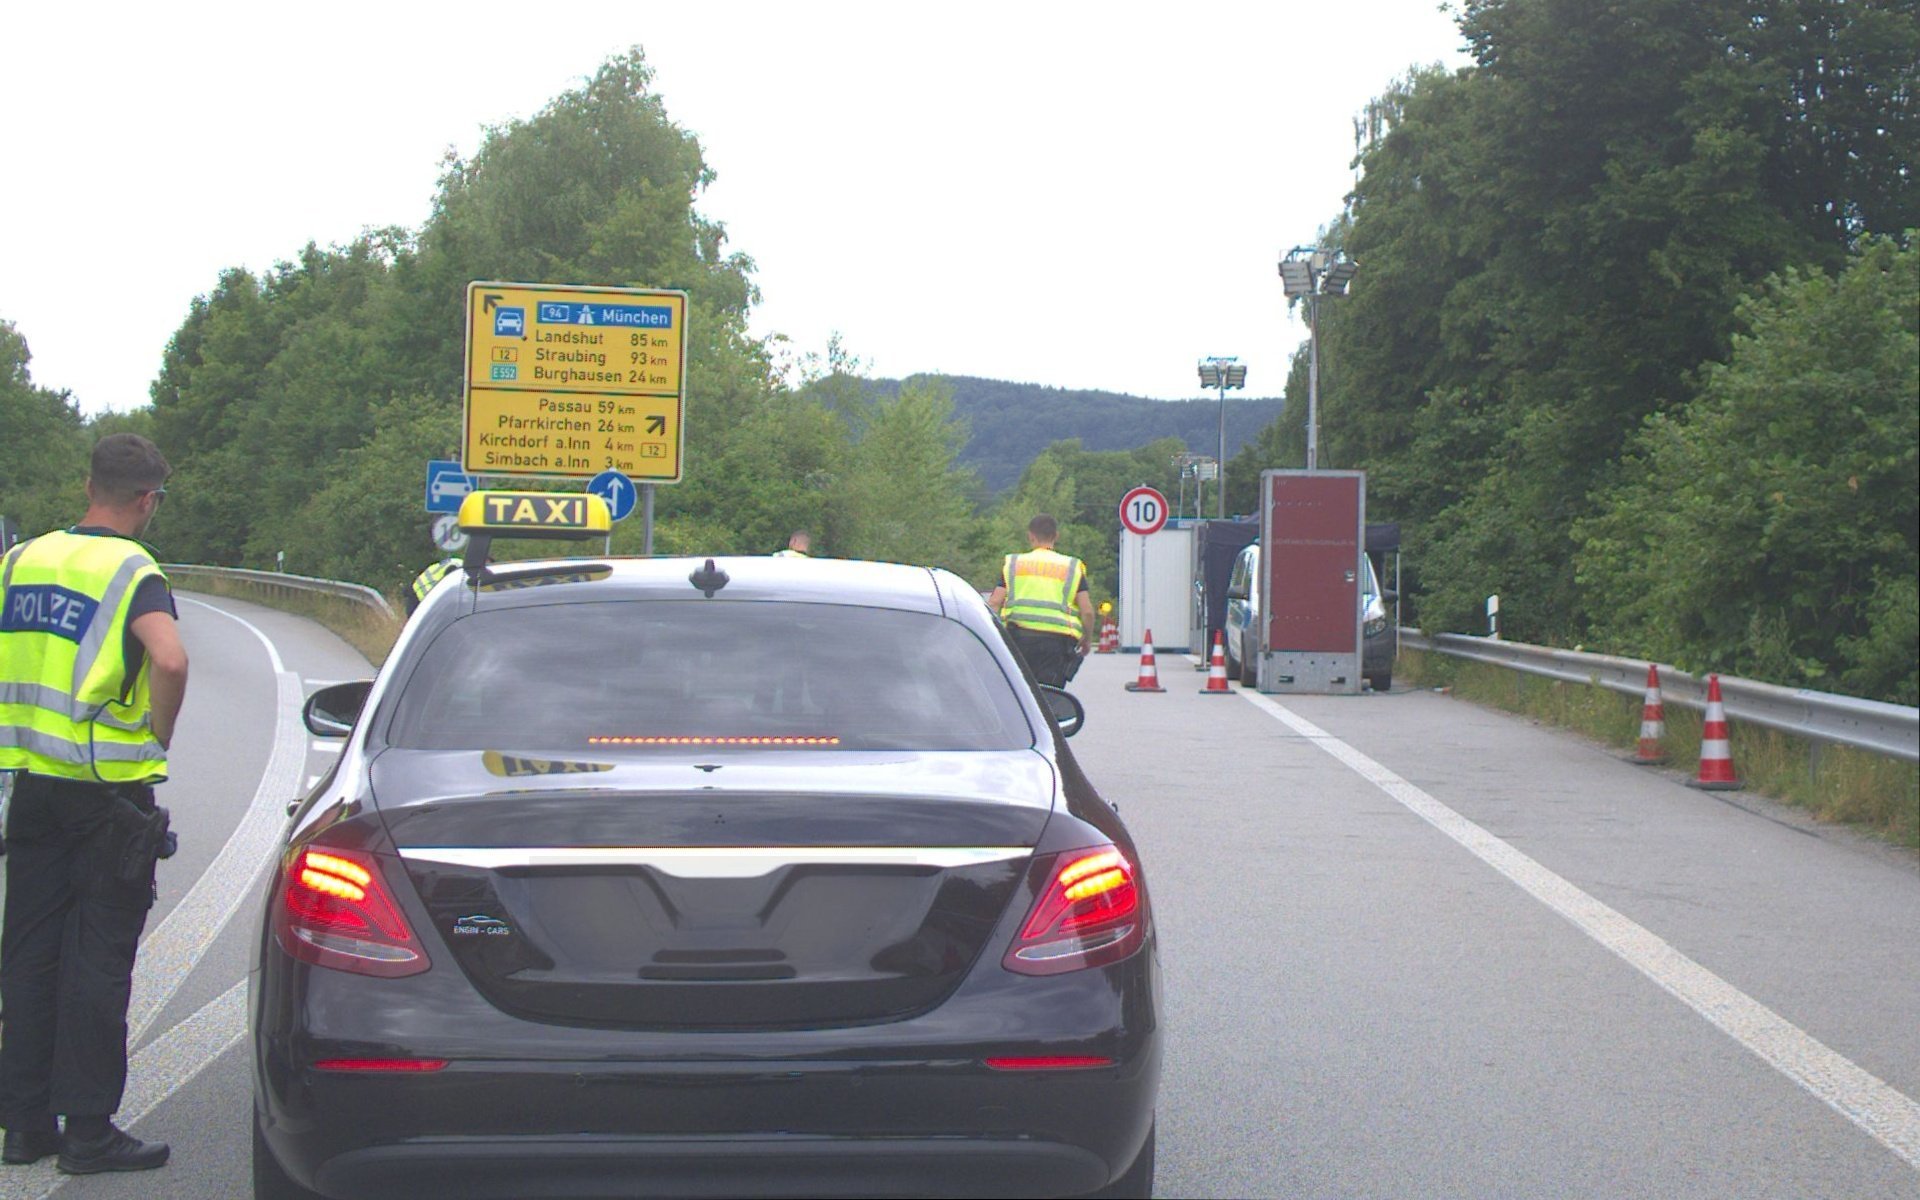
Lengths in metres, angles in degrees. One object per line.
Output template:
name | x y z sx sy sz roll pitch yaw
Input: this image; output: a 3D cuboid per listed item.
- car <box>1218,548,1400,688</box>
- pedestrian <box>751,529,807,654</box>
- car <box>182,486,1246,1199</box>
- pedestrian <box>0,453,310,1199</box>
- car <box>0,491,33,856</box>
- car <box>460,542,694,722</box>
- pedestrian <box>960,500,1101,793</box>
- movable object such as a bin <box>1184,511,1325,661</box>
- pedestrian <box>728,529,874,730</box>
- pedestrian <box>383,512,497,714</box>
car | 4.580 0.187 45.798 1.916 1.672 5.083 2 1 1
pedestrian | -2.848 -0.137 54.138 0.664 1.954 0.759 0 1 15
car | -0.621 0.567 8.210 1.855 1.589 4.376 0 1 -5
pedestrian | -2.084 0.530 8.027 0.761 1.712 0.816 1 1 37
car | -5.399 0.365 15.060 1.868 1.737 4.009 0 1 -4
car | -3.352 0.232 30.782 1.855 1.493 4.257 0 1 -3
pedestrian | 0.456 0.284 21.847 0.812 1.824 0.809 0 1 8
movable object such as a bin | 4.638 -0.243 54.637 1.993 2.272 4.168 1 1 2
pedestrian | -1.368 0.240 29.560 0.908 1.692 0.914 0 0 -32
pedestrian | -4.630 0.110 30.640 0.910 1.763 0.912 1 1 -3
